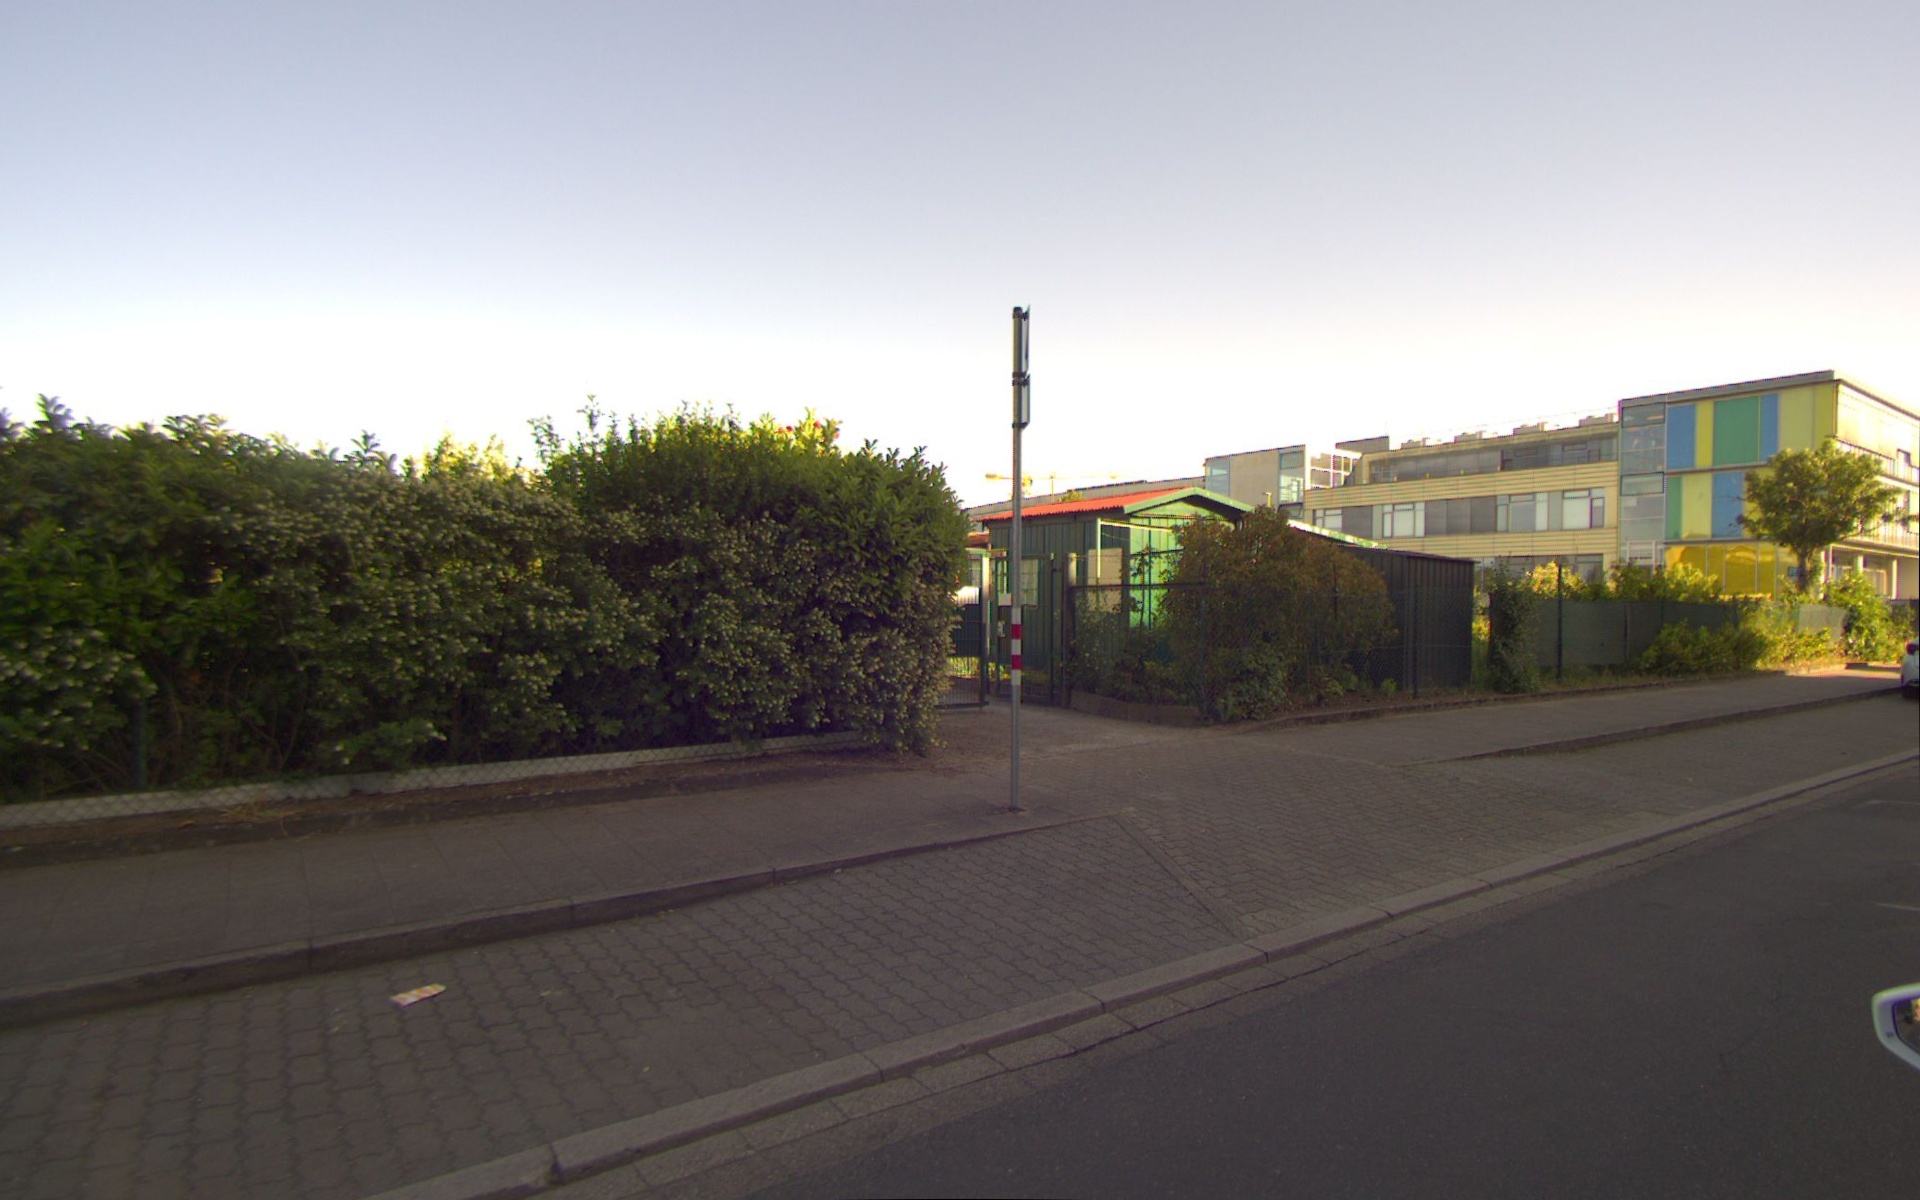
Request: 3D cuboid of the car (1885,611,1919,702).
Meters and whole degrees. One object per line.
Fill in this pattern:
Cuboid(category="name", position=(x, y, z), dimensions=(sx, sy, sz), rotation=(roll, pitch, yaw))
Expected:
Cuboid(category="car", position=(17.862, 0.970, 17.435), dimensions=(4.496, 1.465, 1.735), rotation=(0, 2, -36))
